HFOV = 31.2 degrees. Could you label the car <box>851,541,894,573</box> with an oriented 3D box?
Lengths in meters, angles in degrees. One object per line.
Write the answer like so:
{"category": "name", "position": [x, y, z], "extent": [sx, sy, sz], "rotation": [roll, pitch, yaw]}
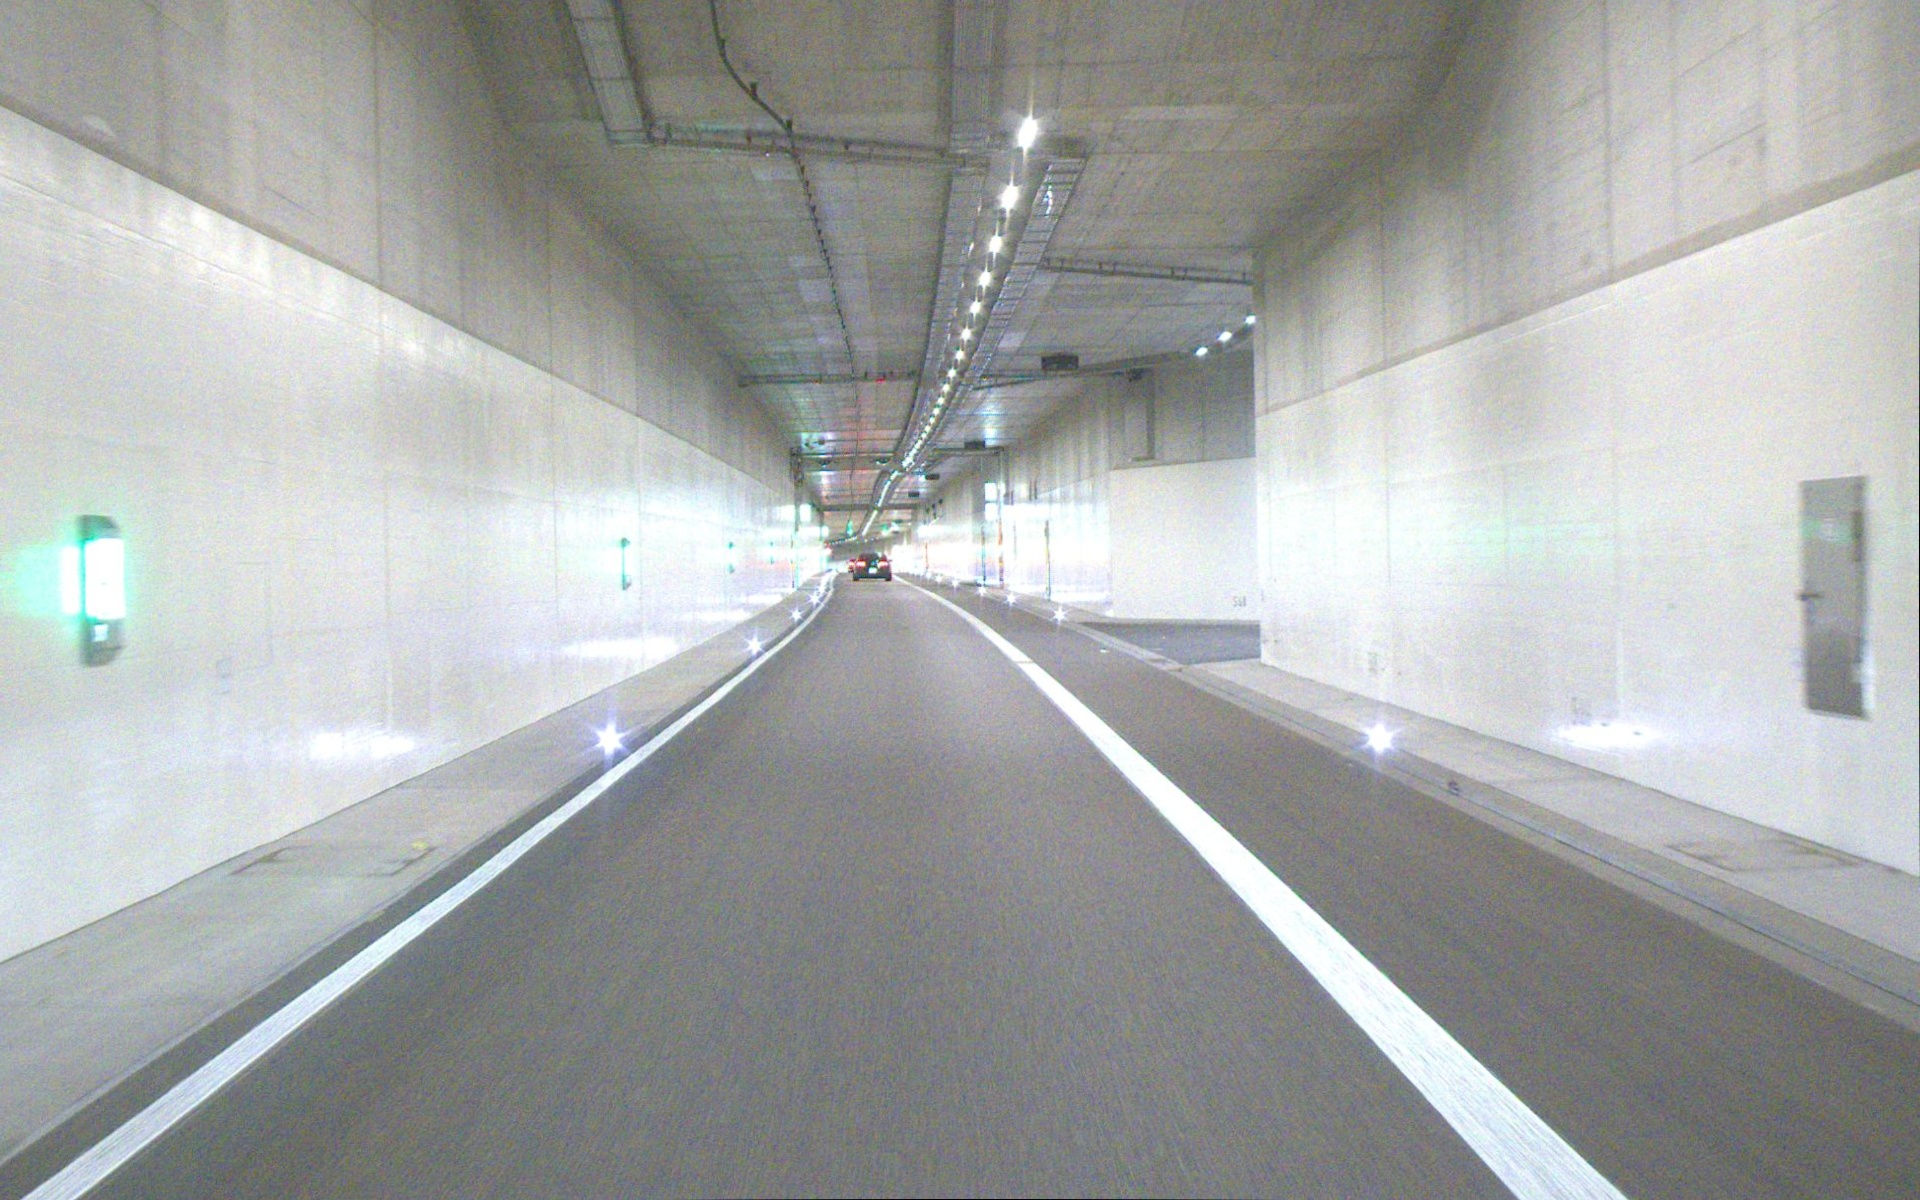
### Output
{"category": "car", "position": [-4.299, -2.118, 168.097], "extent": [1.993, 1.415, 4.000], "rotation": [-3, 1, -2]}
